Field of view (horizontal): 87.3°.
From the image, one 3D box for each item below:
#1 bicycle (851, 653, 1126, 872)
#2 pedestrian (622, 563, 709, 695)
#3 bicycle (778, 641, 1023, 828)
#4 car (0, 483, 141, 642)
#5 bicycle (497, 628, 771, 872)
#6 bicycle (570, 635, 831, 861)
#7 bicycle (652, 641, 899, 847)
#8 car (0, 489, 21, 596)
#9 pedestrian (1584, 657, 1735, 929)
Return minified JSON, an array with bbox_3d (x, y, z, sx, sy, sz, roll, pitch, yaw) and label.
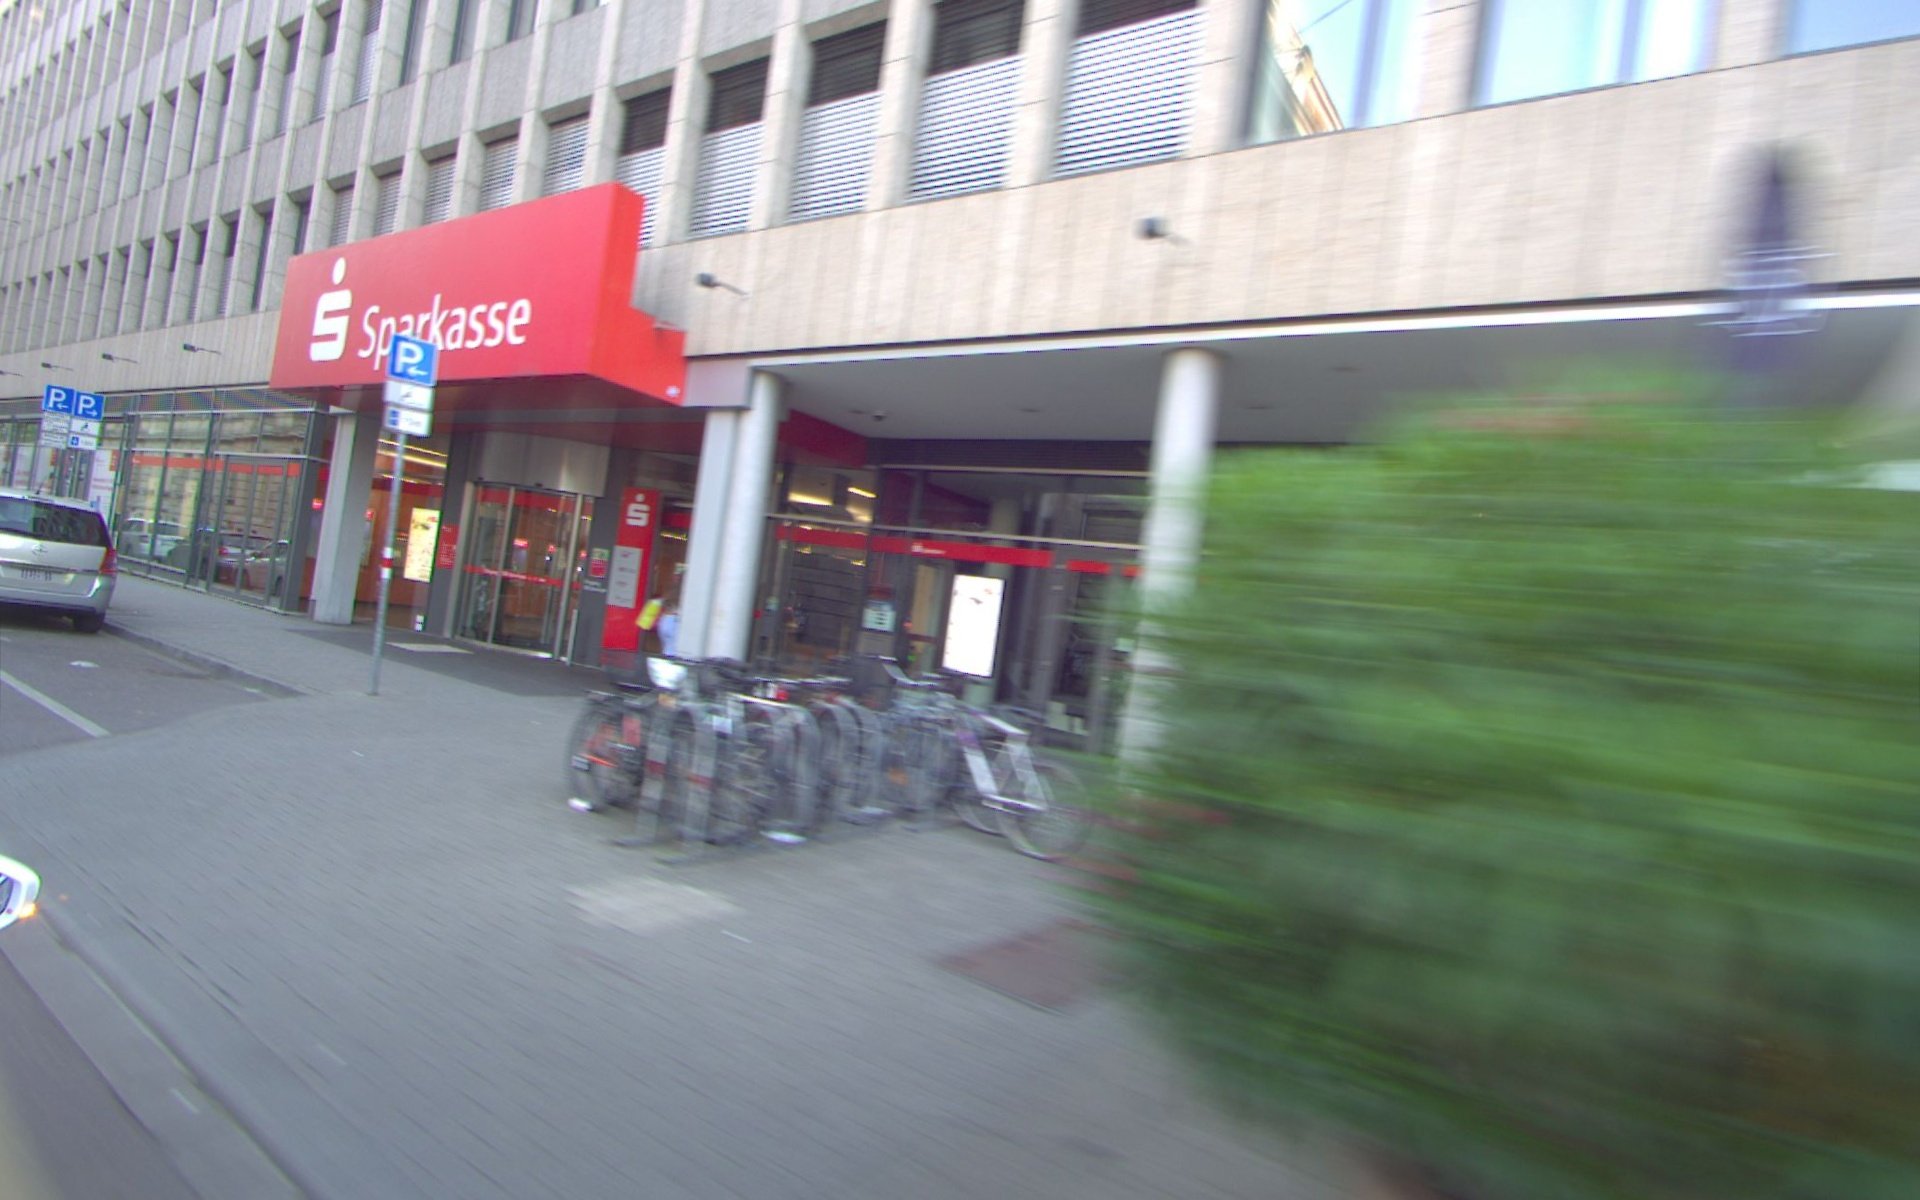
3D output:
[{"bbox_3d":[0.158,1.053,6.947,1.784,1.131,0.545,7,0,35],"label":"bicycle"},{"bbox_3d":[-4.018,0.395,13.761,0.682,1.681,0.705,8,0,16],"label":"pedestrian"},{"bbox_3d":[-0.488,1.002,7.887,1.781,1.131,0.546,7,0,27],"label":"bicycle"},{"bbox_3d":[-12.301,-0.633,12.761,3.988,1.653,1.773,7,-4,35],"label":"car"},{"bbox_3d":[-1.922,0.798,5.810,1.659,1.054,0.559,7,0,37],"label":"bicycle"},{"bbox_3d":[-1.647,0.852,6.237,1.659,1.054,0.559,7,0,37],"label":"bicycle"},{"bbox_3d":[-1.278,0.911,6.773,1.659,1.054,0.559,7,0,37],"label":"bicycle"},{"bbox_3d":[-16.984,-1.207,16.095,4.023,1.653,1.774,7,-3,33],"label":"car"},{"bbox_3d":[5.352,1.439,7.692,0.655,1.870,0.716,9,0,42],"label":"pedestrian"}]
